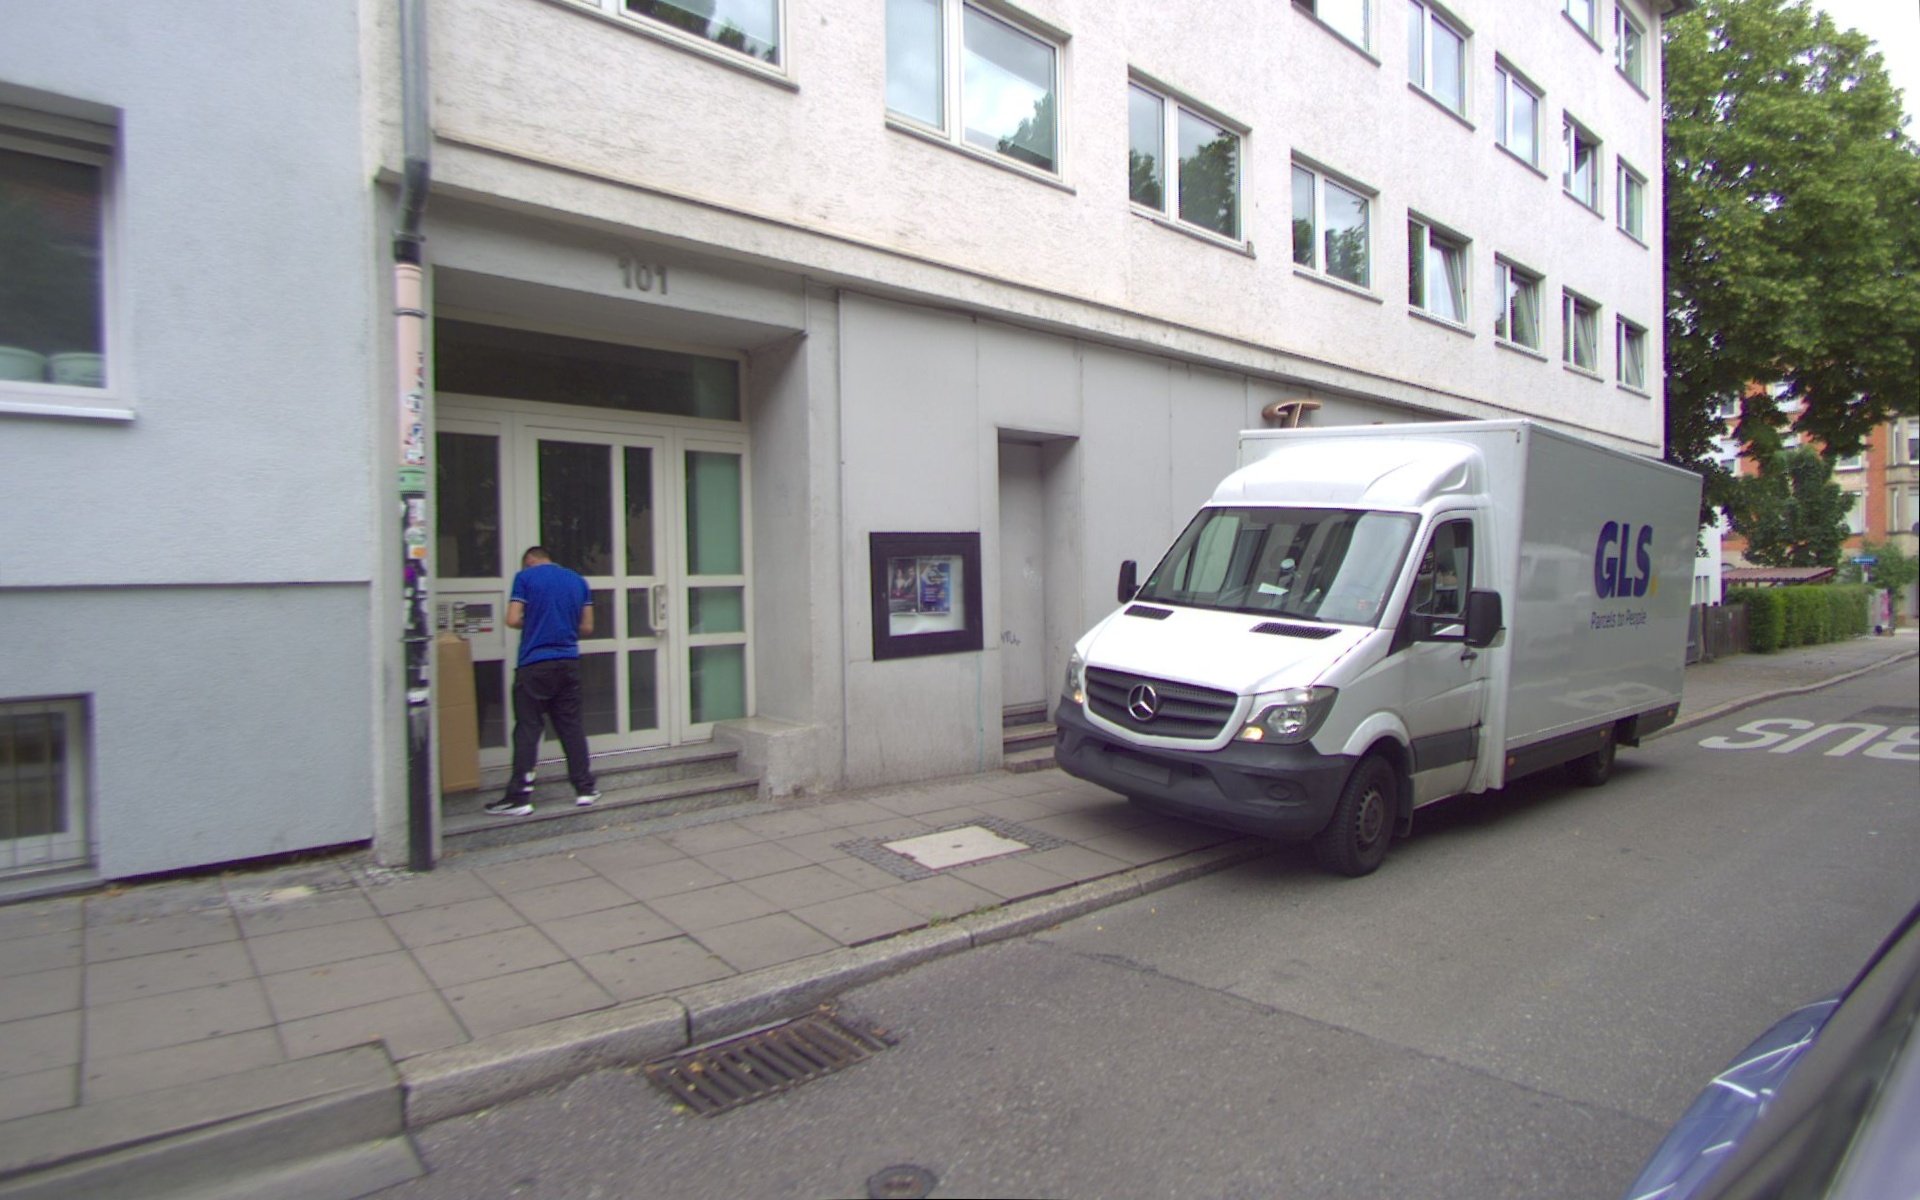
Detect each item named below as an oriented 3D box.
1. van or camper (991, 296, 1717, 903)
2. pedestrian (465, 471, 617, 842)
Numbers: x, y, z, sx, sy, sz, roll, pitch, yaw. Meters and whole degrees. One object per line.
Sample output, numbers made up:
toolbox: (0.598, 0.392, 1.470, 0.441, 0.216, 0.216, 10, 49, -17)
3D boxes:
van or camper: (3.668, -0.060, 8.072, 7.115, 2.837, 2.484, 0, 2, -43)
pedestrian: (-2.499, 0.308, 6.031, 0.674, 2.039, 0.635, 0, 0, -41)
